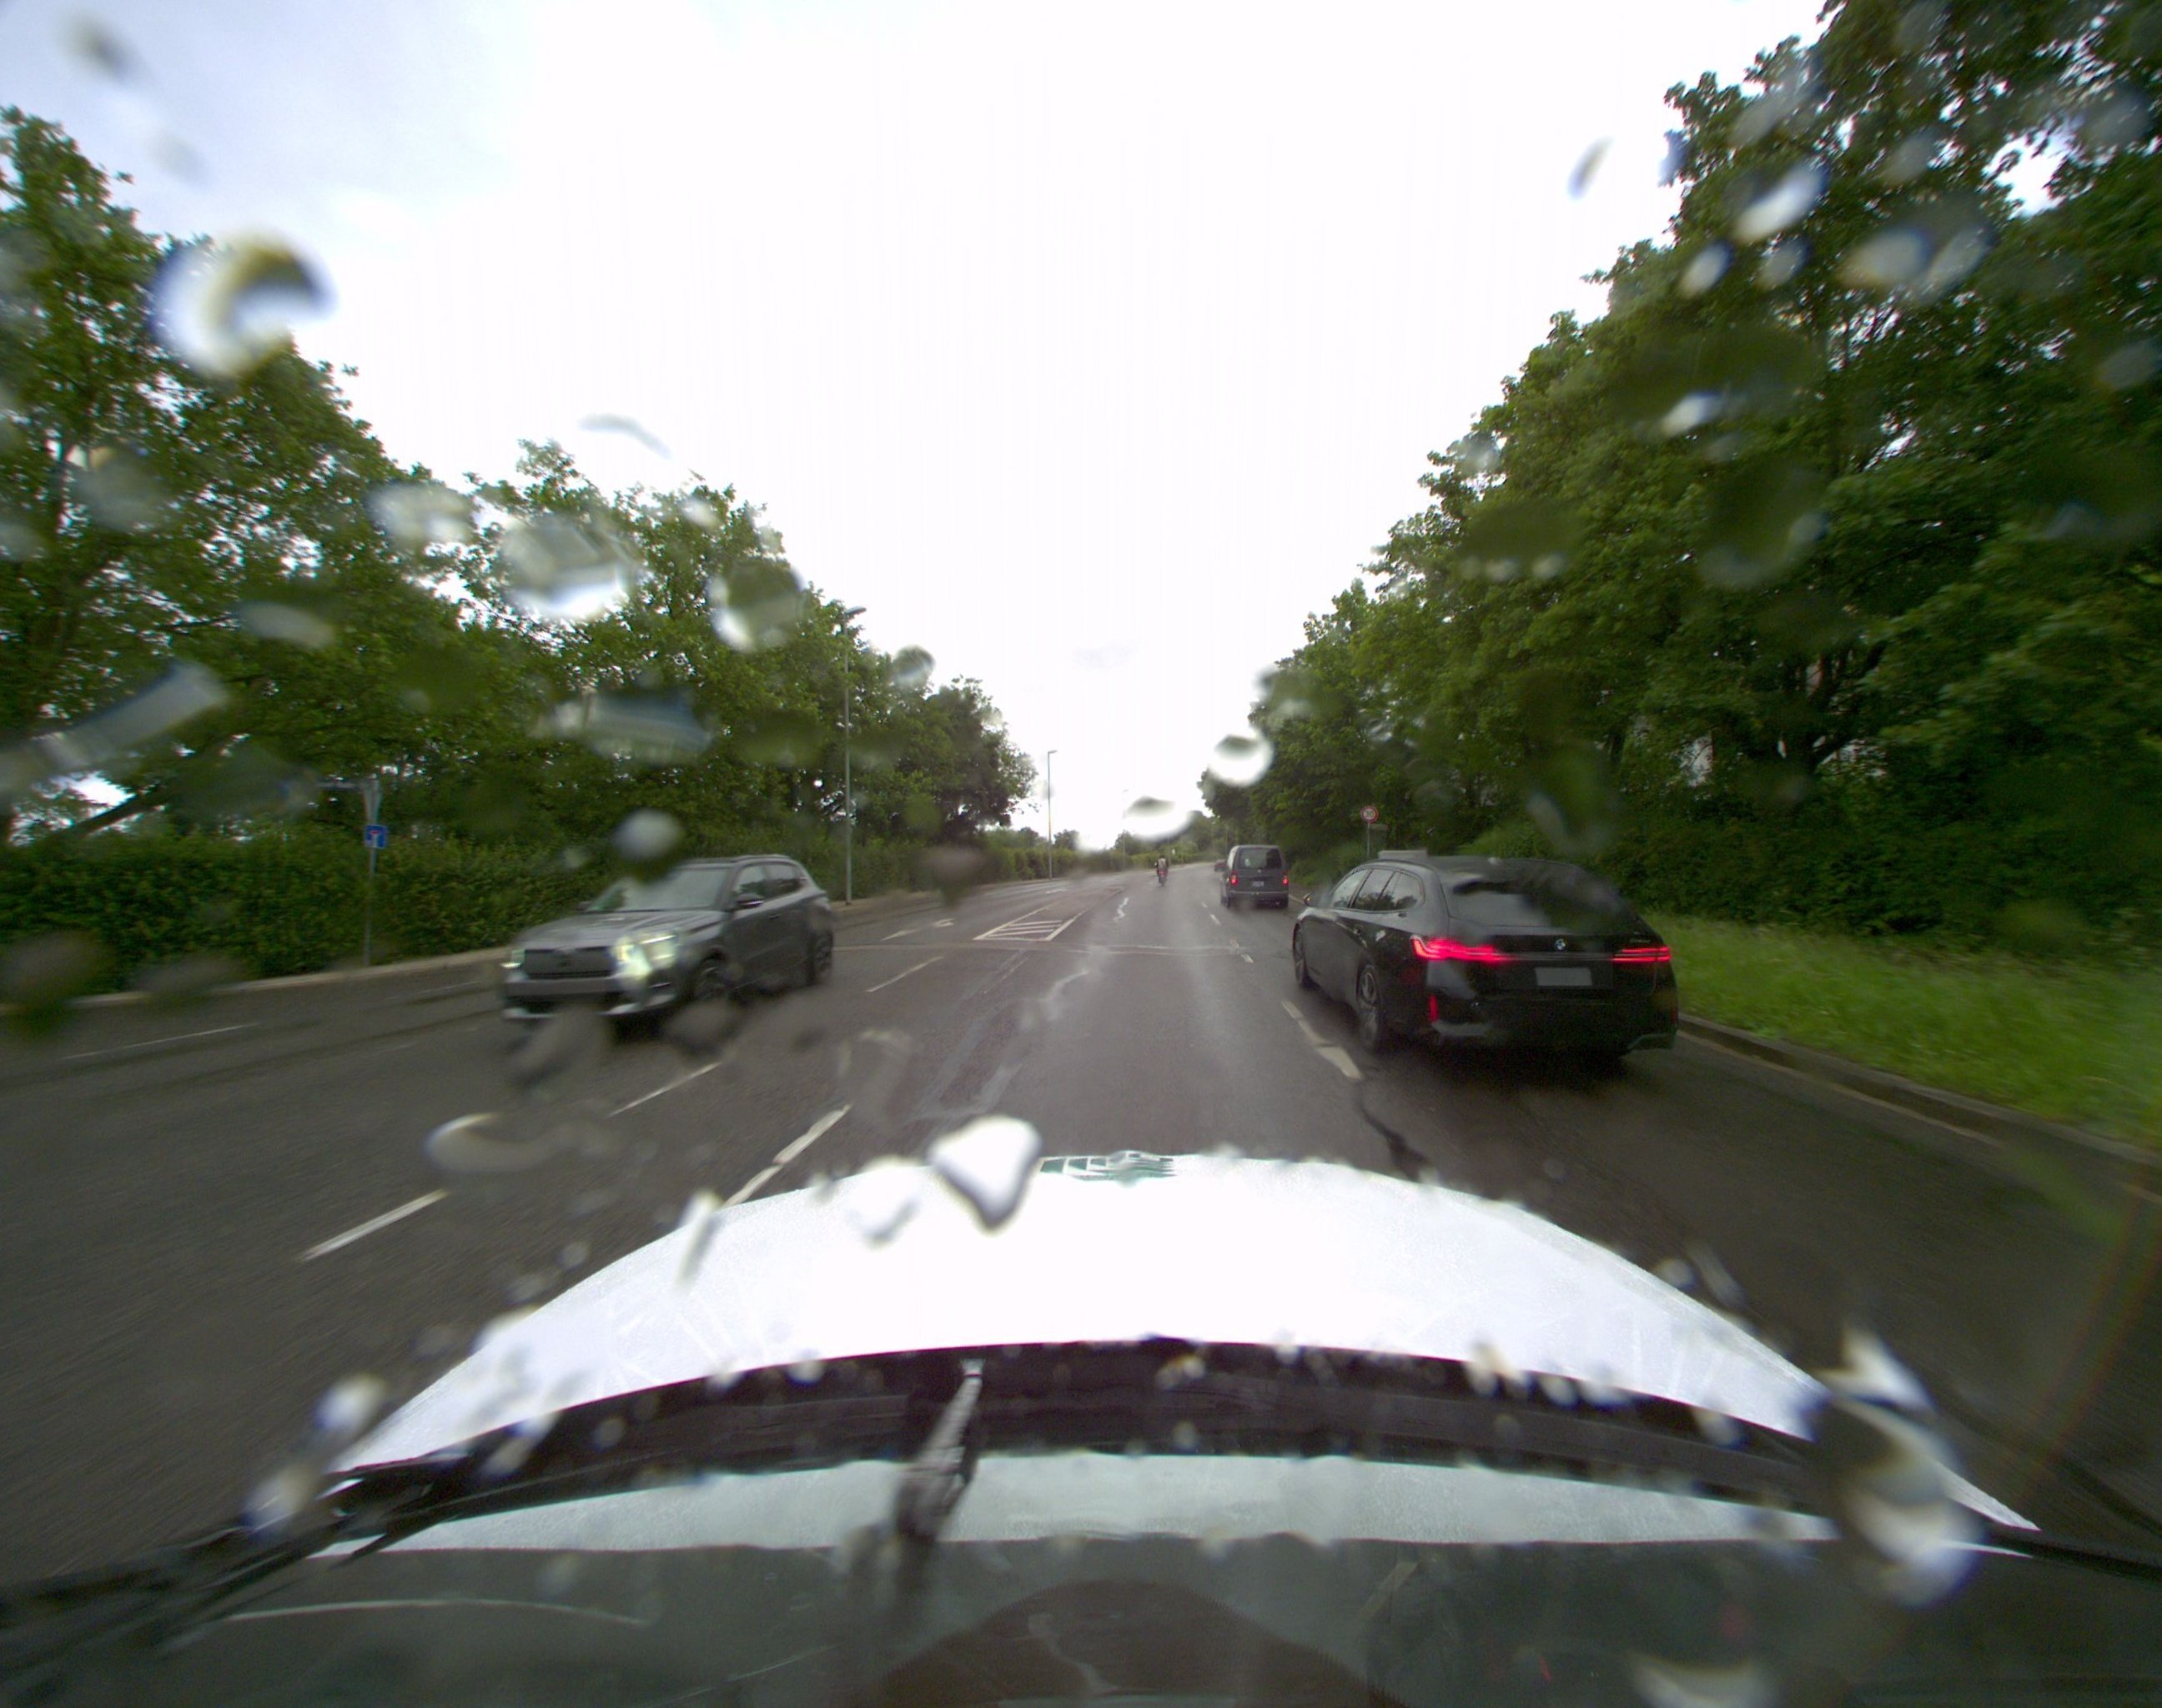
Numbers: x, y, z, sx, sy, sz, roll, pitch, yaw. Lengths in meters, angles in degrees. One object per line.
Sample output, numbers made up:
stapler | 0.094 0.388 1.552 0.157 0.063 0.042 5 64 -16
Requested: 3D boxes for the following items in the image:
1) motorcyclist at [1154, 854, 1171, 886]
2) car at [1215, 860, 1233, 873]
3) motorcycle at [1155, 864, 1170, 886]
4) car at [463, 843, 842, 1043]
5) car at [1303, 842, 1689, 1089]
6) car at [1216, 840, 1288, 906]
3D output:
motorcyclist | 4.255 0.828 42.469 0.841 1.647 0.468 -1 0 5
car | 17.587 1.533 100.043 2.002 1.415 4.500 0 1 11
motorcycle | 4.270 1.099 42.589 0.737 1.119 1.429 0 1 7
car | -4.136 0.748 8.663 1.787 1.603 3.736 -3 0 4
car | 3.104 0.708 6.986 1.755 1.536 3.679 0 0 6
car | 5.081 0.501 24.619 1.758 1.810 3.912 0 1 6
